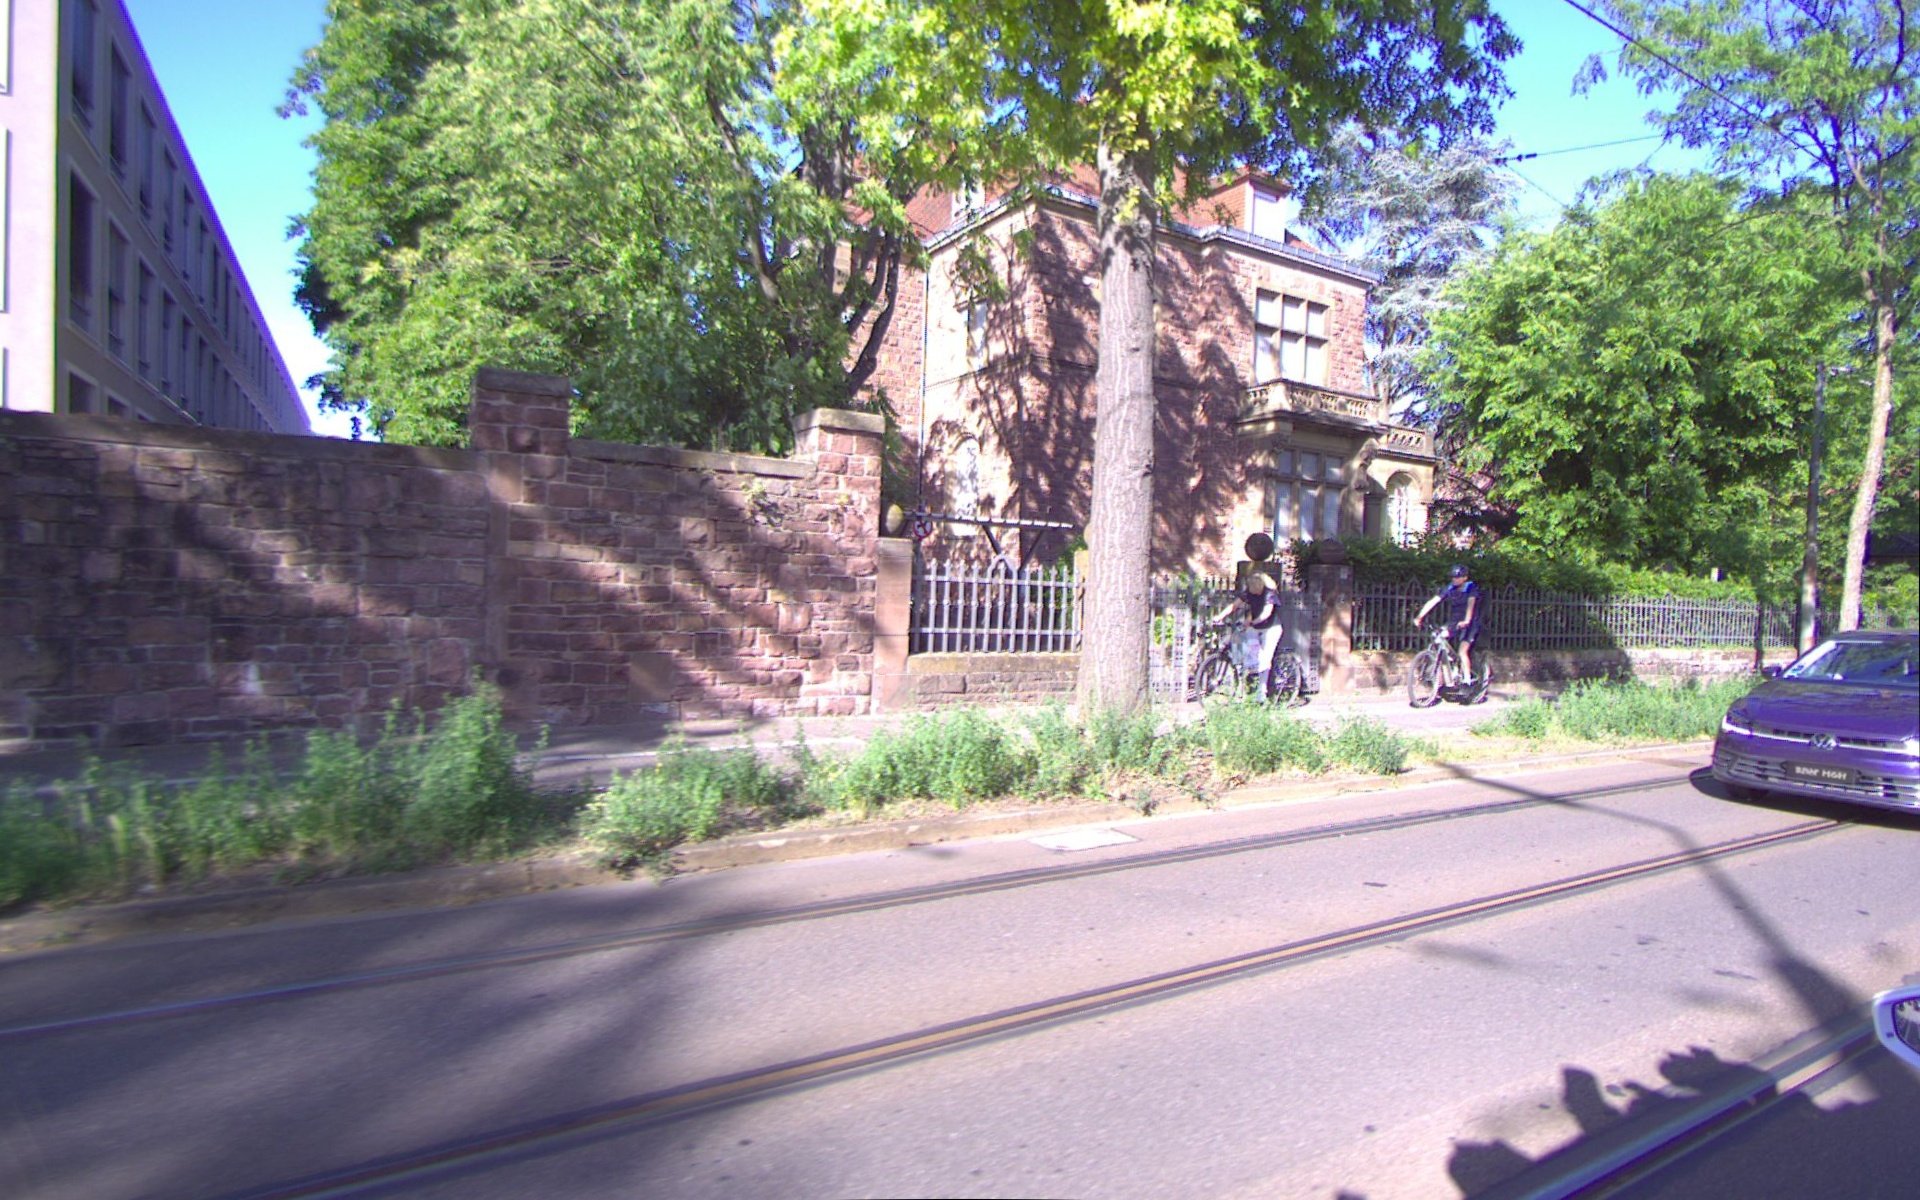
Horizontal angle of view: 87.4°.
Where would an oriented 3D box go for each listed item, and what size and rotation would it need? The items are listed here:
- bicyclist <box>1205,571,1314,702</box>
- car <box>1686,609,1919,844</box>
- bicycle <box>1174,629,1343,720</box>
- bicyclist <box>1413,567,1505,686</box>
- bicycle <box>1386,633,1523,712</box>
[{"bbox_3d":[3.582,0.421,12.025,1.029,1.490,0.705,1,1,-30],"label":"bicyclist"},{"bbox_3d":[8.003,0.917,8.350,4.024,1.544,1.739,1,1,-31],"label":"car"},{"bbox_3d":[3.600,0.862,12.049,2.070,0.973,0.707,1,1,-30],"label":"bicycle"},{"bbox_3d":[6.761,0.346,13.612,1.048,1.547,0.590,1,1,-30],"label":"bicyclist"},{"bbox_3d":[6.717,0.955,13.611,2.107,0.973,0.586,1,1,-31],"label":"bicycle"}]
